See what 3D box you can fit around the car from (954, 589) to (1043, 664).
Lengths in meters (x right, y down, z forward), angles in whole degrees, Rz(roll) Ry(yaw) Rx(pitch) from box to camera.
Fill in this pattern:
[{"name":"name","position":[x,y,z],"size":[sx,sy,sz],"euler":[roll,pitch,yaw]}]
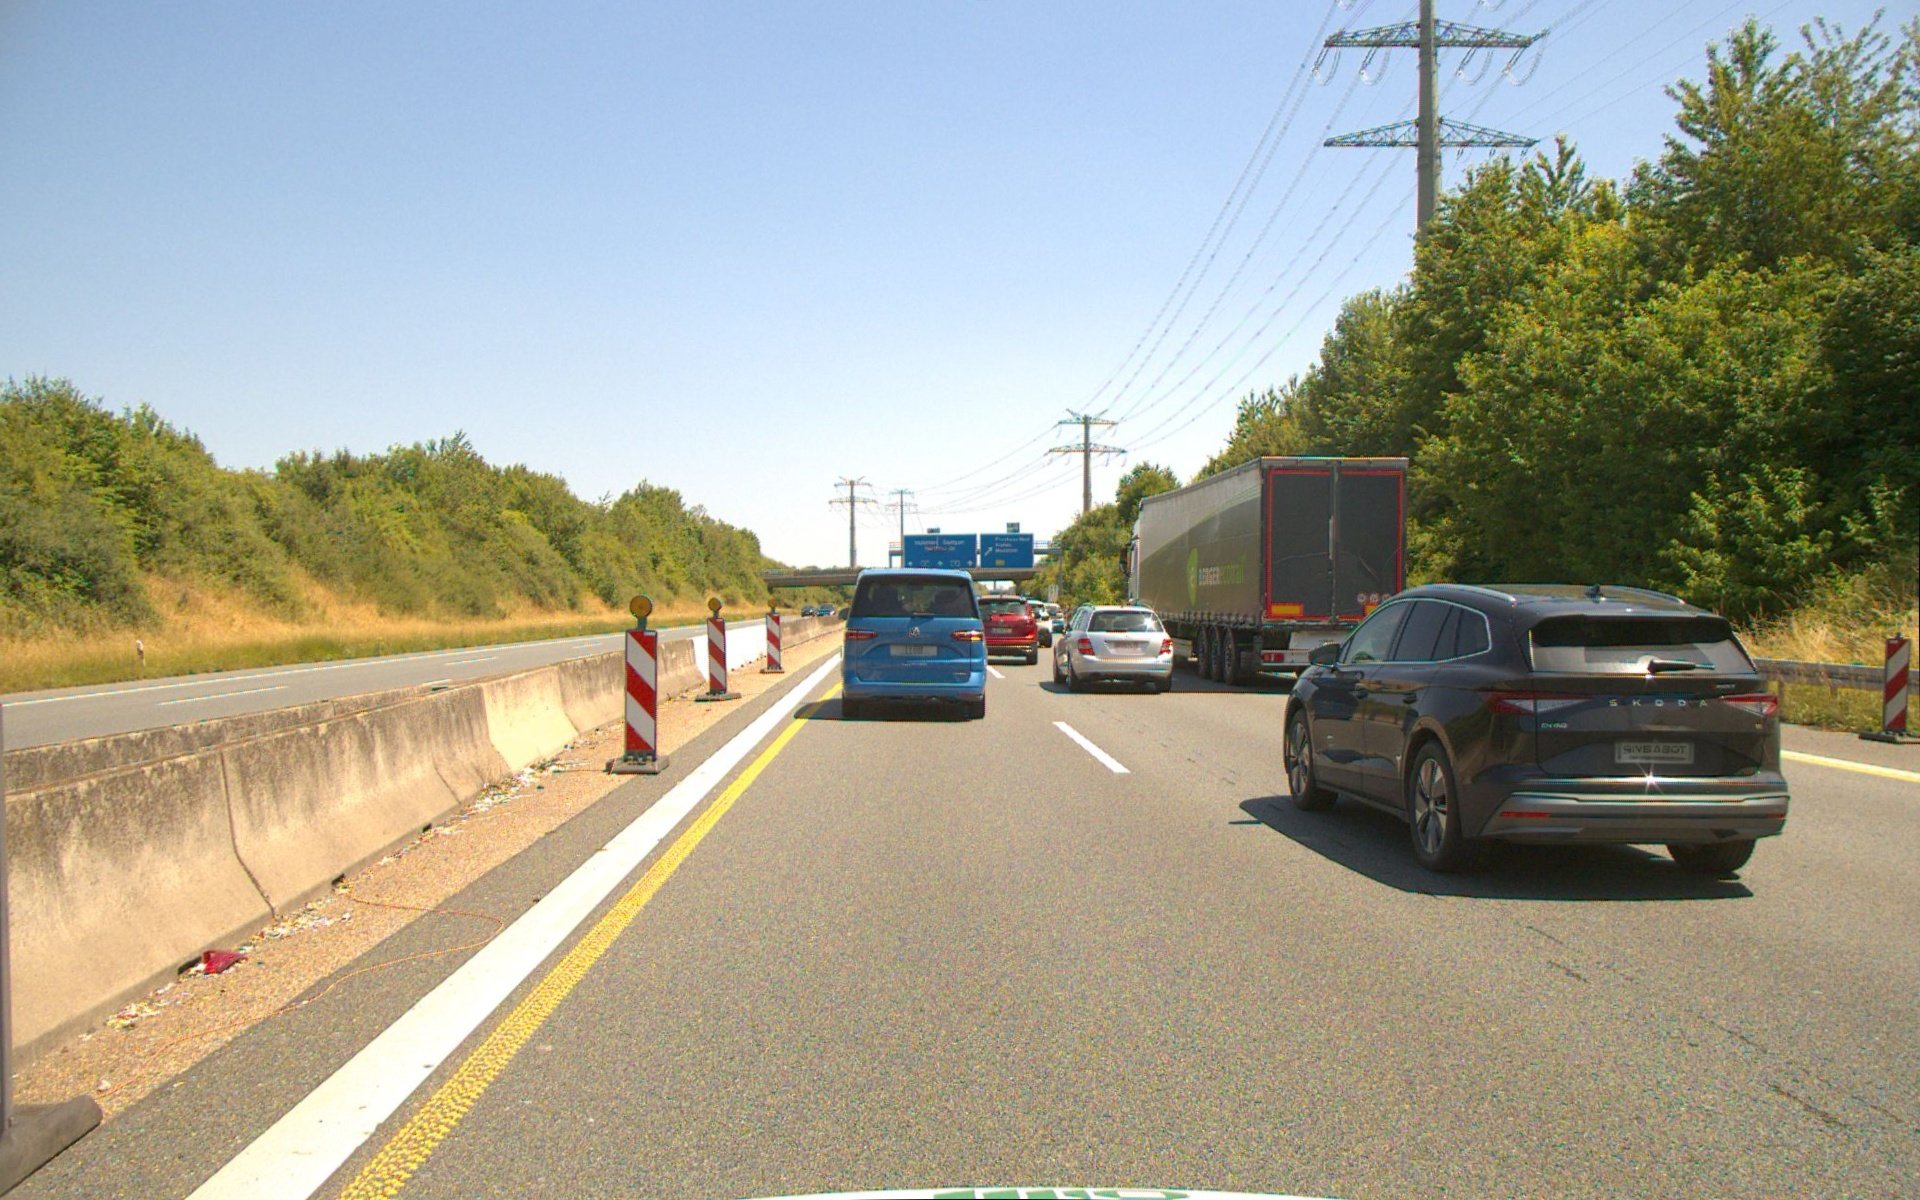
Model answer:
[{"name":"car","position":[0.881,0.629,40.663],"size":[1.837,1.700,4.357],"euler":[1,0,-3]}]

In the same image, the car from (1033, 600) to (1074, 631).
[{"name":"car","position":[4.696,0.768,83.337],"size":[1.666,1.473,3.786],"euler":[1,0,-2]}]

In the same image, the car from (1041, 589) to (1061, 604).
[{"name":"car","position":[10.733,-0.426,194.753],"size":[1.837,1.700,4.357],"euler":[1,0,-3]}]

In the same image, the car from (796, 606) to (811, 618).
[{"name":"car","position":[-20.862,1.613,220.462],"size":[1.674,1.490,3.847],"euler":[-2,0,-3]}]

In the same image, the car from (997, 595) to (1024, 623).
[{"name":"car","position":[3.896,0.685,128.434],"size":[1.761,2.049,4.225],"euler":[1,0,-2]}]

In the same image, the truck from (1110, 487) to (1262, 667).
[{"name":"truck","position":[5.518,-0.522,41.309],"size":[2.678,4.118,5.790],"euler":[1,0,-3]}]

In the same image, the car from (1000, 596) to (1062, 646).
[{"name":"car","position":[2.380,0.702,56.400],"size":[1.761,1.622,4.225],"euler":[1,0,-2]}]

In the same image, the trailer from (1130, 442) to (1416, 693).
[{"name":"trailer","position":[5.889,-0.508,34.064],"size":[2.728,4.118,13.103],"euler":[1,0,-3]}]

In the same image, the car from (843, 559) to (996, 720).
[{"name":"car","position":[-0.601,0.494,22.481],"size":[1.837,1.945,4.357],"euler":[1,0,-3]}]

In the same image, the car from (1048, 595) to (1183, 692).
[{"name":"car","position":[2.645,0.716,29.091],"size":[1.735,1.544,4.357],"euler":[1,0,-3]}]

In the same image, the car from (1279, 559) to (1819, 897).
[{"name":"car","position":[3.419,0.660,10.590],"size":[1.667,1.684,4.427],"euler":[1,0,-3]}]

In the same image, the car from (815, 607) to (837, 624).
[{"name":"car","position":[-12.602,1.464,155.394],"size":[1.825,1.516,4.492],"euler":[-1,0,-2]}]
